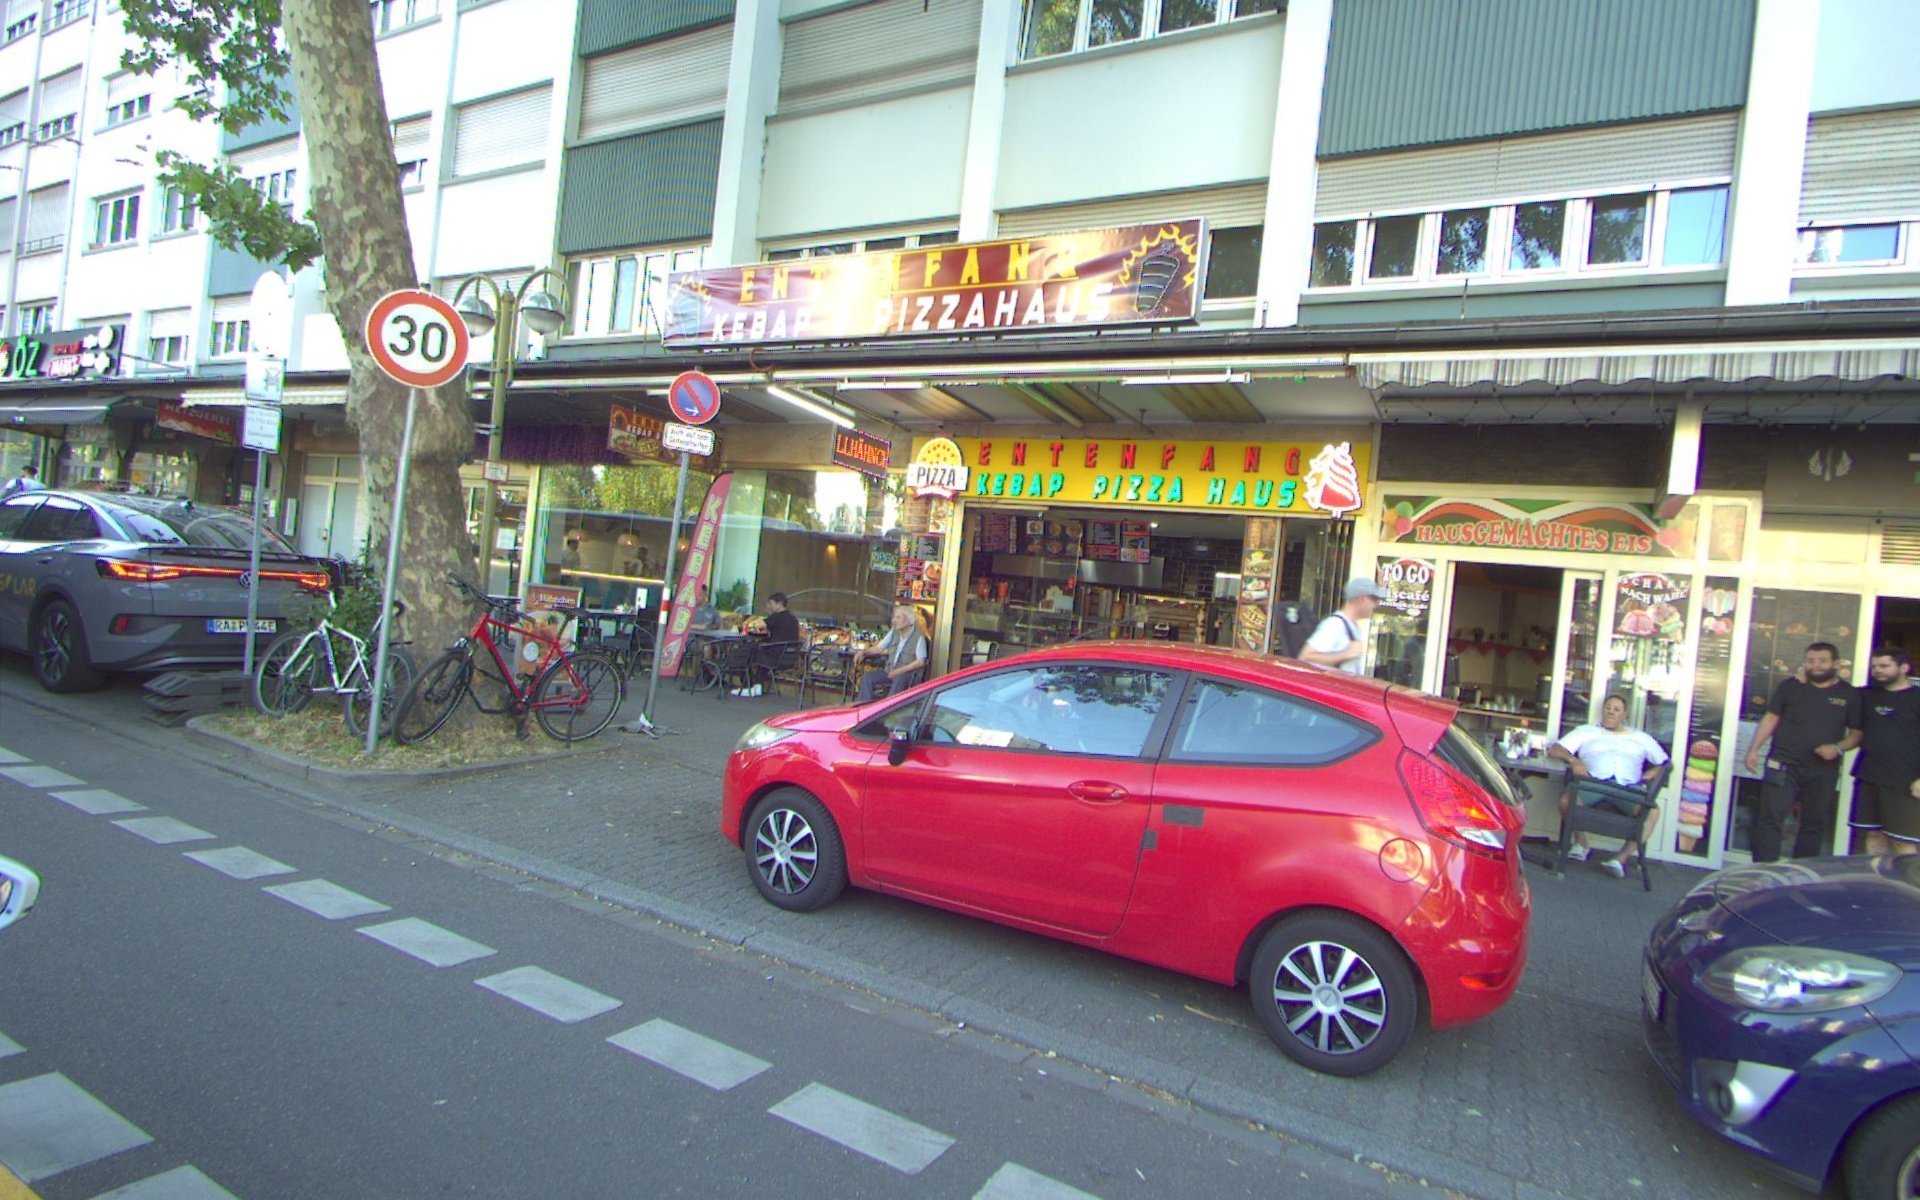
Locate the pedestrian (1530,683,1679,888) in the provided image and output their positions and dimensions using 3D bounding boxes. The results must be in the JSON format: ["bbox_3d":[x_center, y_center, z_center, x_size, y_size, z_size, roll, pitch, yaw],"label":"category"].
[{"bbox_3d":[4.807,1.318,7.522,0.767,1.249,1.202,6,3,34],"label":"pedestrian"}]

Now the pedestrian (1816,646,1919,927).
[{"bbox_3d":[6.397,1.240,6.819,0.636,1.783,0.610,8,3,33],"label":"pedestrian"}]

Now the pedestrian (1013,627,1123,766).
[{"bbox_3d":[1.003,0.864,9.315,0.740,1.172,0.593,6,3,33],"label":"pedestrian"}]

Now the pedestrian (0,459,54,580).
[{"bbox_3d":[-16.647,-1.415,17.718,0.702,2.040,0.769,7,2,31],"label":"pedestrian"}]

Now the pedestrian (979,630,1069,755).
[{"bbox_3d":[0.659,0.919,10.288,0.585,1.172,0.671,6,3,31],"label":"pedestrian"}]

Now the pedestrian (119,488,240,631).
[{"bbox_3d":[-9.519,-0.477,12.307,0.739,1.600,0.875,6,0,-12],"label":"pedestrian"}]

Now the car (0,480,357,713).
[{"bbox_3d":[-7.645,-0.167,9.091,4.223,1.619,1.742,6,2,27],"label":"car"}]

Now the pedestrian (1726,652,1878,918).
[{"bbox_3d":[6.056,1.288,7.276,0.588,1.759,0.587,8,3,35],"label":"pedestrian"}]

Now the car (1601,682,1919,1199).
[{"bbox_3d":[4.037,1.245,2.805,3.543,1.485,1.620,7,2,29],"label":"car"}]

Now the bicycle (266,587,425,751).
[{"bbox_3d":[-4.276,0.456,6.987,1.110,0.941,0.295,9,6,21],"label":"bicycle"}]

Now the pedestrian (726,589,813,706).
[{"bbox_3d":[-2.218,0.539,11.704,0.701,1.260,0.614,6,3,41],"label":"pedestrian"}]

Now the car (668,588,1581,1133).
[{"bbox_3d":[0.645,0.871,4.897,3.780,1.448,1.668,6,2,27],"label":"car"}]

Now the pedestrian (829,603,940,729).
[{"bbox_3d":[-0.807,0.690,10.771,0.861,1.237,0.688,2,3,-44],"label":"pedestrian"}]

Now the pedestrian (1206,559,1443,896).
[{"bbox_3d":[2.419,0.774,6.633,1.104,1.913,1.023,6,0,31],"label":"pedestrian"}]

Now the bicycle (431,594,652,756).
[{"bbox_3d":[-3.064,0.534,7.465,0.291,1.082,1.455,12,7,42],"label":"bicycle"}]

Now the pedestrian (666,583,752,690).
[{"bbox_3d":[-3.063,0.438,12.268,0.694,1.220,0.675,7,3,42],"label":"pedestrian"}]
